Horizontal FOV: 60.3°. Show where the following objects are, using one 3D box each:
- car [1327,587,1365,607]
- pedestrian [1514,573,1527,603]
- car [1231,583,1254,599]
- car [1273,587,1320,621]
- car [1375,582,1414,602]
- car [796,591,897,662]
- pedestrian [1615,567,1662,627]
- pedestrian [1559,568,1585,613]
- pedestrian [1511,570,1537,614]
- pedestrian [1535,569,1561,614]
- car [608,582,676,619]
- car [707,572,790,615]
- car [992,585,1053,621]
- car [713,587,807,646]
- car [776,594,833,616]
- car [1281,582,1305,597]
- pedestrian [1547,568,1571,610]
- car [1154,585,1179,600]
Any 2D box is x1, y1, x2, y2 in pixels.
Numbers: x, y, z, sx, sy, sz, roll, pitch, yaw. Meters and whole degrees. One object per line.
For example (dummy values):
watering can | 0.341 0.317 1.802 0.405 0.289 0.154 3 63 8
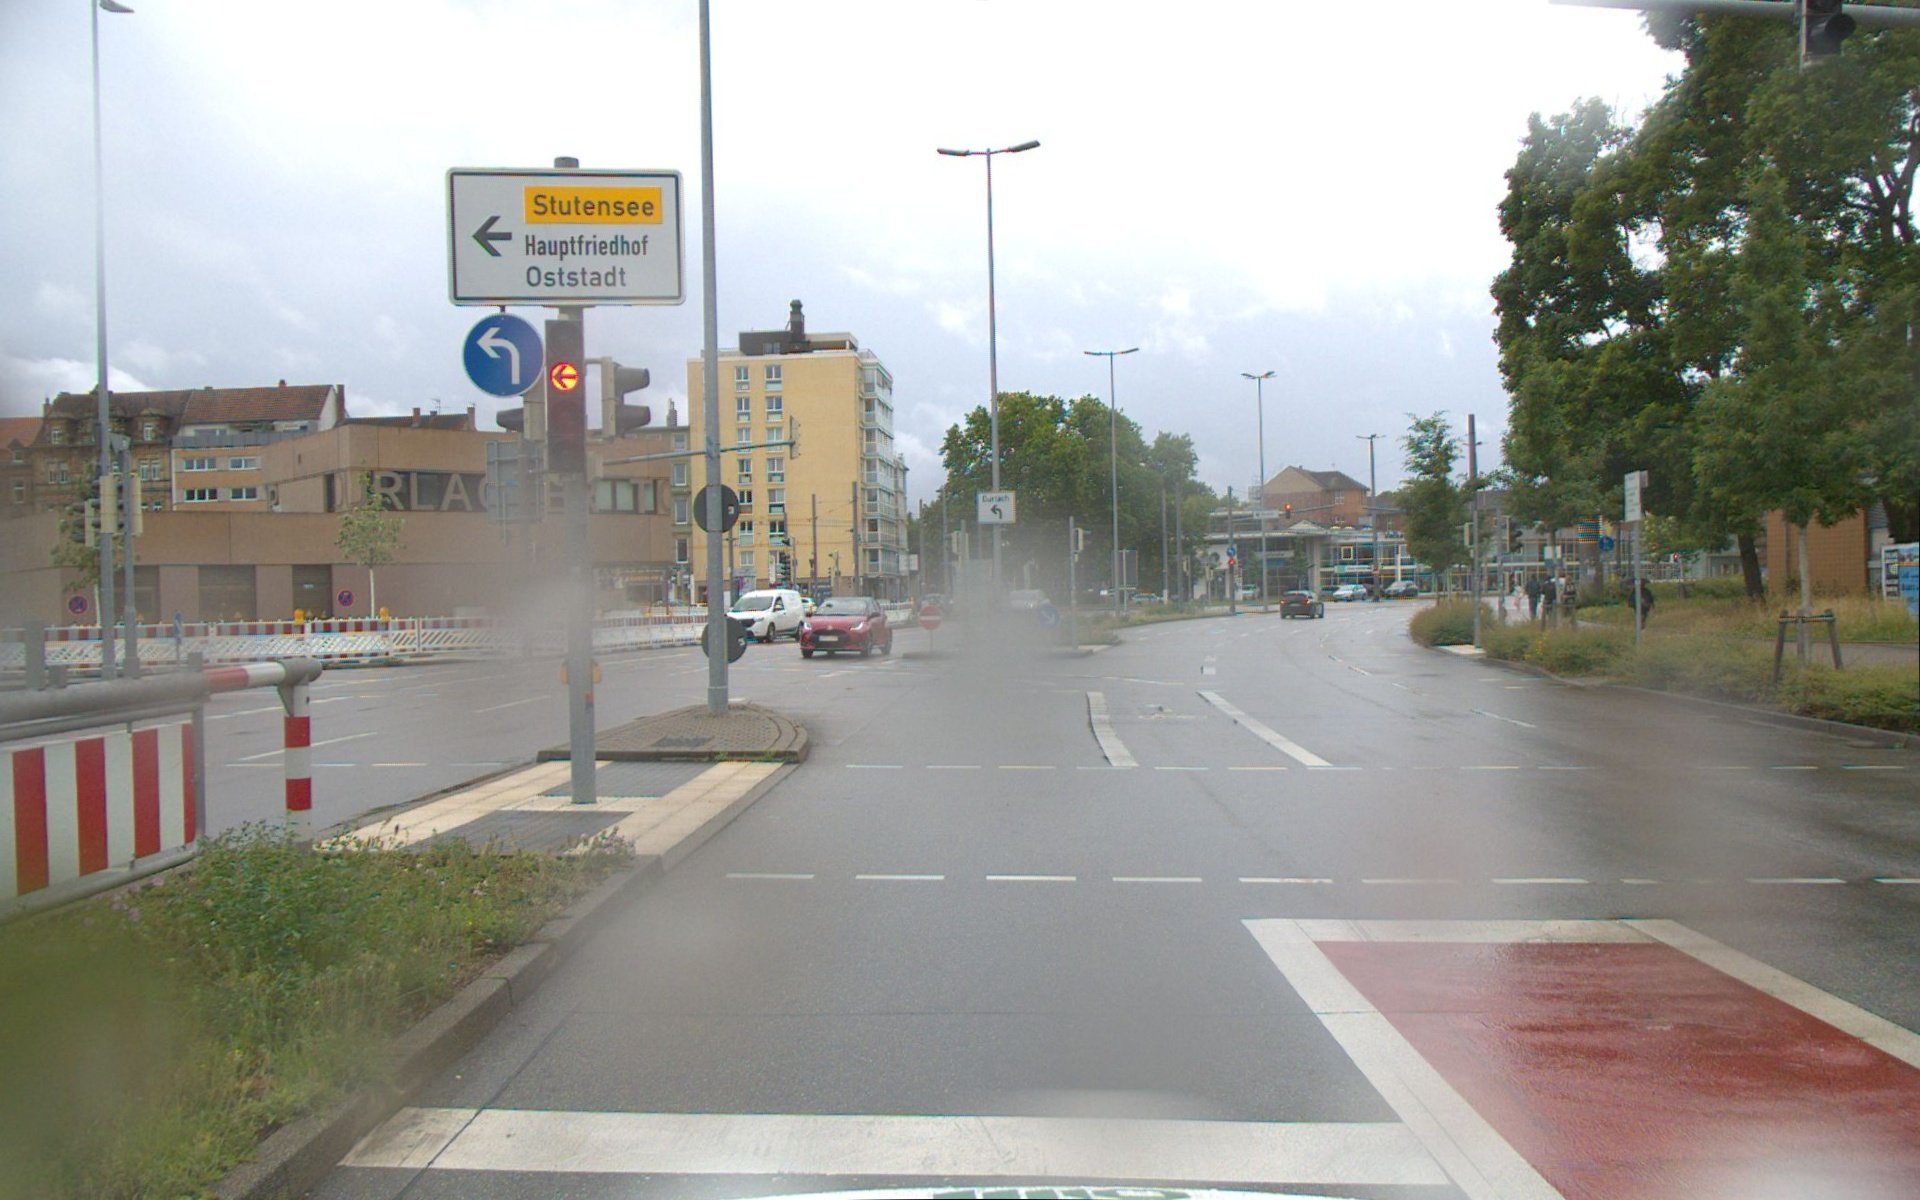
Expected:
car | 34.759 -0.307 148.818 1.761 1.672 4.141 -1 0 38
pedestrian | 31.923 -0.683 94.212 0.575 1.658 0.621 -1 0 14
car | 31.946 -1.050 186.983 1.753 1.672 4.159 -1 0 23
car | 17.730 0.196 87.075 1.753 1.672 4.160 -1 0 21
car | 39.658 -0.744 150.949 1.765 1.672 4.133 -1 0 43
car | -2.841 0.635 42.204 1.752 1.672 4.050 -1 0 8
pedestrian | 18.712 -0.088 45.629 1.000 1.615 0.937 -1 0 9
pedestrian | 22.310 -0.340 60.329 0.688 1.615 0.937 -1 0 9
pedestrian | 20.809 -0.301 61.002 0.737 1.615 0.937 -1 0 9
pedestrian | 21.532 -0.320 60.580 0.688 1.615 0.937 -1 0 9
car | -27.188 0.016 141.669 5.239 2.937 2.340 -2 0 2
car | -18.006 -0.539 141.177 6.601 3.439 2.810 -2 0 2
car | 3.121 0.110 81.814 1.753 1.672 4.160 -1 0 21
car | -6.814 0.544 56.842 1.752 1.890 4.163 -1 0 15
car | -12.610 0.368 134.467 4.289 1.672 1.797 -1 0 7
car | 37.095 -1.178 184.102 1.753 1.672 4.159 -1 0 23
pedestrian | 23.473 -0.419 64.795 0.688 1.615 0.937 -1 0 9
car | 23.785 -0.831 190.334 1.753 1.672 4.159 -1 0 23
